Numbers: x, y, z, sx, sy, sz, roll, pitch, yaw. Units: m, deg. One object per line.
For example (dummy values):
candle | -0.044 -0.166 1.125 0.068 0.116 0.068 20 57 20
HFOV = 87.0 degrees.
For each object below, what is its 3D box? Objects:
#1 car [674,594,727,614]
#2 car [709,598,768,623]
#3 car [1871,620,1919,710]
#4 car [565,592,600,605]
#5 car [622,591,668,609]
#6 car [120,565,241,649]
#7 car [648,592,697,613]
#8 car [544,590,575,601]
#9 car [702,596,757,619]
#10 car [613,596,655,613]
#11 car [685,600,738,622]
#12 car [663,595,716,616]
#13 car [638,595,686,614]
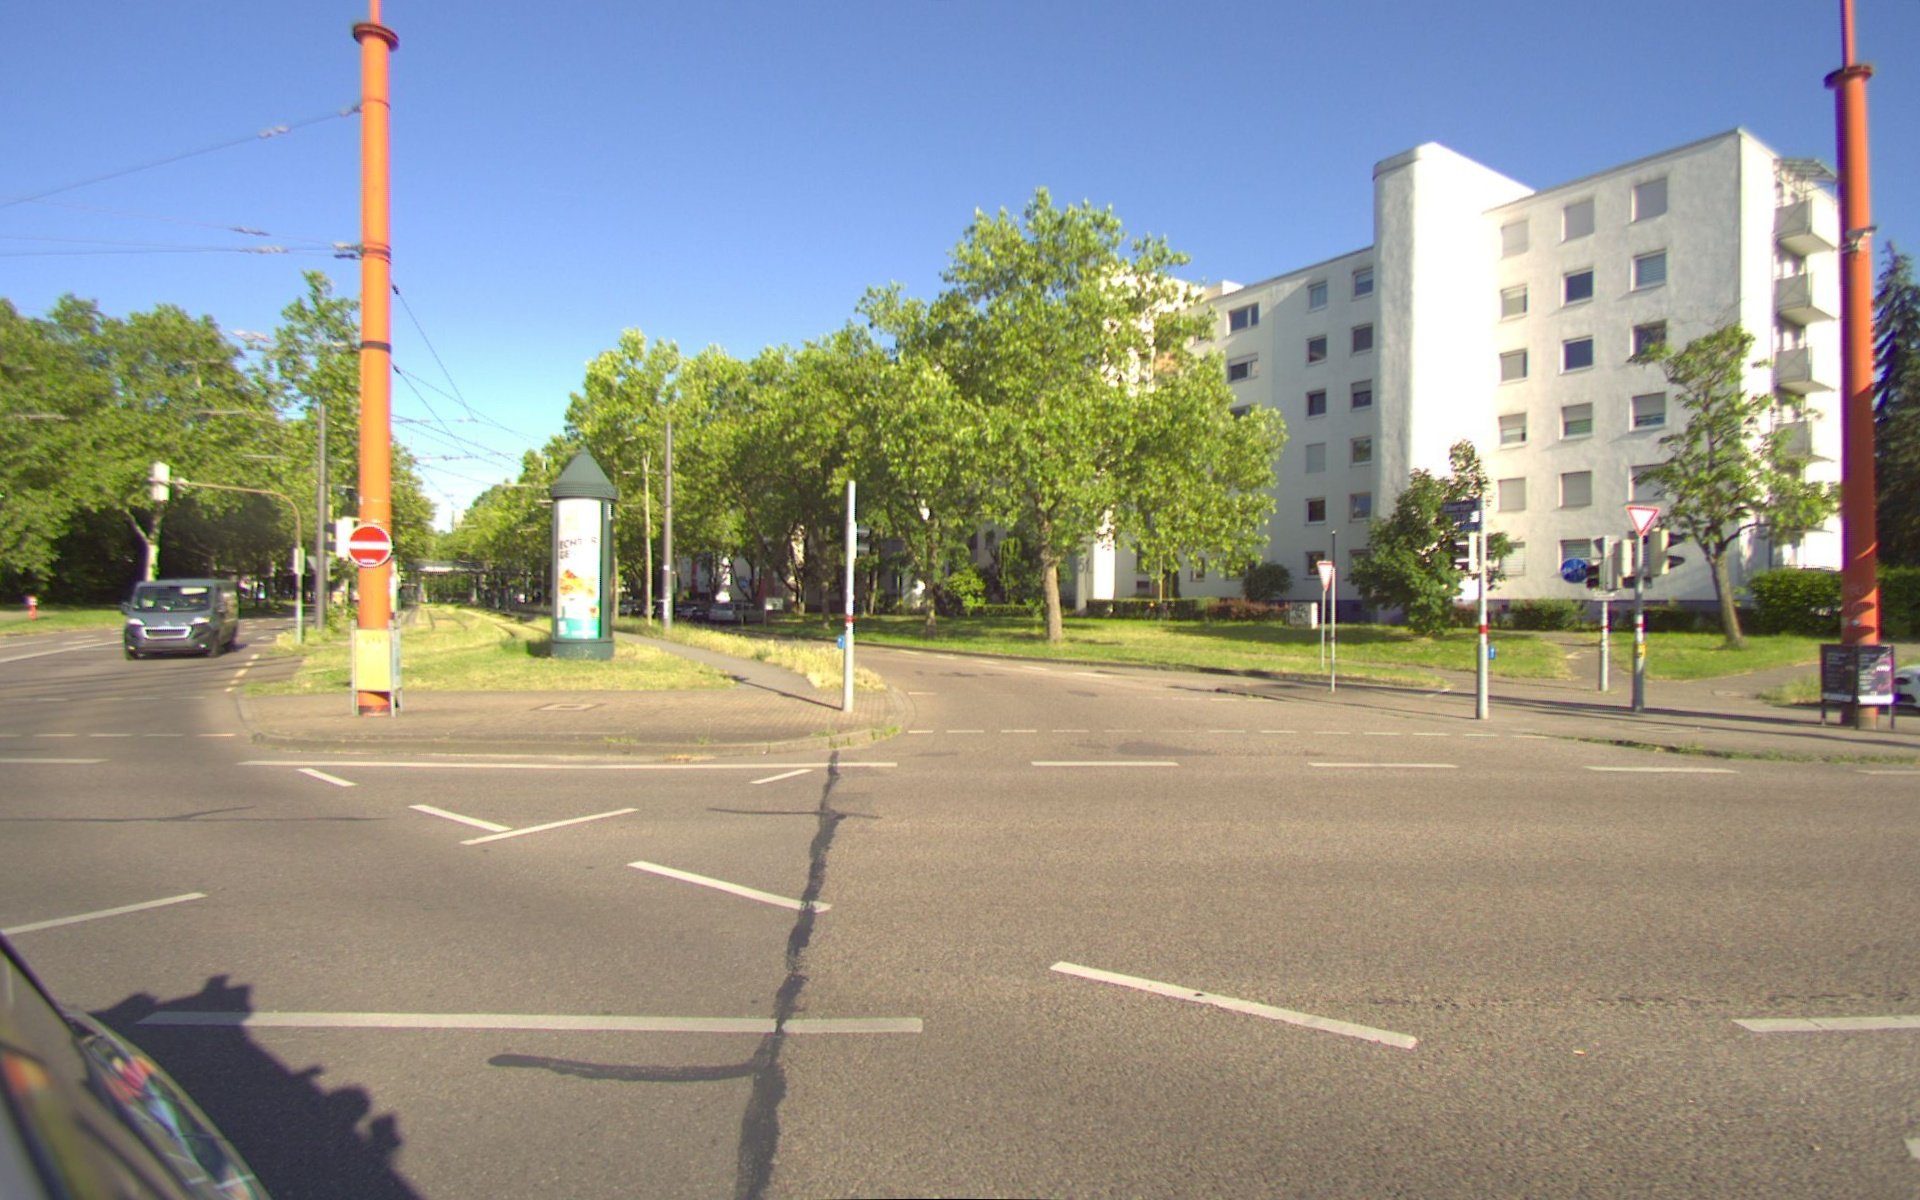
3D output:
car | -18.769 0.279 73.320 1.782 1.398 4.023 -1 0 20
car | -14.028 0.650 64.248 1.801 1.498 4.023 -1 0 20
car | 18.698 1.127 17.258 4.228 1.562 1.892 0 -2 21
car | -45.848 -0.235 122.969 1.781 1.510 4.025 -1 0 18
car | -27.549 -0.003 88.631 1.783 1.510 4.020 -1 0 21
car | -22.630 0.154 29.598 2.006 2.221 5.679 0 1 -29
car | -23.407 0.186 82.396 1.783 1.676 4.020 -1 0 21
car | -55.873 -0.590 141.253 1.781 1.510 4.025 -1 0 18
car | -15.394 0.498 67.853 1.751 1.498 4.023 -1 0 20
car | -30.662 0.404 95.352 1.781 1.510 4.025 -1 0 18
car | -17.192 0.732 70.181 1.665 1.398 4.023 -1 0 20
car | -20.294 0.425 76.035 1.783 1.510 4.020 -1 0 21
car | -25.146 0.375 85.520 1.783 1.510 4.020 -1 0 21
